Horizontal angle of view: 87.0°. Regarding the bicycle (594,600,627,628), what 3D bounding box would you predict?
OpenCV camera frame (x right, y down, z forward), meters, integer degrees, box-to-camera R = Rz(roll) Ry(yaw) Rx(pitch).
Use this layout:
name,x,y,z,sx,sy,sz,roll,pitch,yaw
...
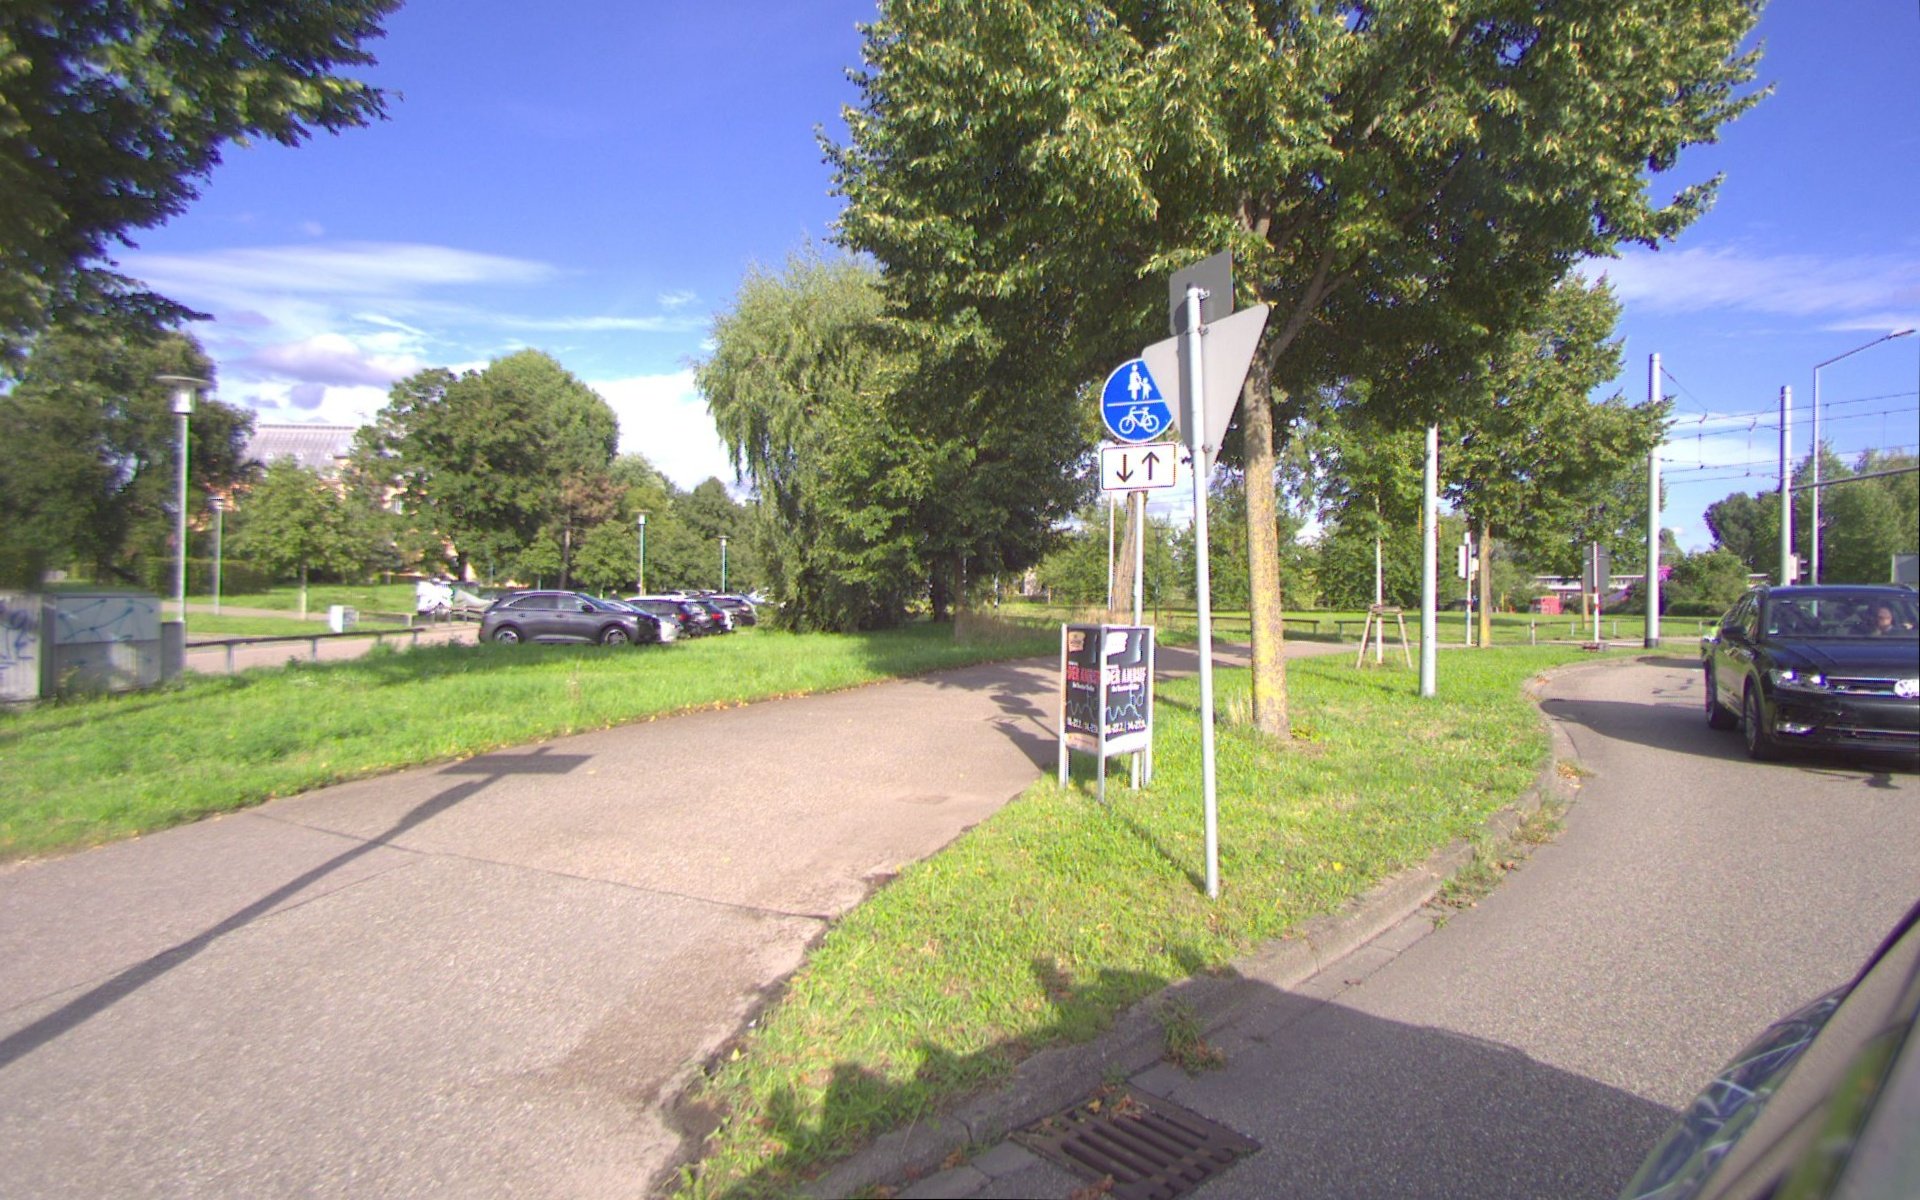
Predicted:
name,x,y,z,sx,sy,sz,roll,pitch,yaw
bicycle,-15.625,0.607,45.235,0.757,1.151,2.150,0,1,-1

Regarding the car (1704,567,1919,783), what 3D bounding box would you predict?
name,x,y,z,sx,sy,sz,roll,pitch,yaw
car,8.910,0.585,10.141,1.858,1.716,4.960,1,0,31

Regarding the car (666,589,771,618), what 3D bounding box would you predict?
name,x,y,z,sx,sy,sz,roll,pitch,yaw
car,-11.716,0.154,49.348,4.740,1.375,1.862,0,0,-2

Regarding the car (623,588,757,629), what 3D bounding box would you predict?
name,x,y,z,sx,sy,sz,roll,pitch,yaw
car,-10.457,0.316,39.457,4.769,1.534,1.862,0,0,-2

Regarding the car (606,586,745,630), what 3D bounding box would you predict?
name,x,y,z,sx,sy,sz,roll,pitch,yaw
car,-10.430,0.283,37.338,4.641,1.534,1.862,0,0,-2

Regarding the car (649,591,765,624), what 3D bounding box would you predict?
name,x,y,z,sx,sy,sz,roll,pitch,yaw
car,-10.957,0.299,44.077,4.641,1.376,1.862,0,0,-2

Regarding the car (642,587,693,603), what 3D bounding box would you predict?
name,x,y,z,sx,sy,sz,roll,pitch,yaw
car,-25.189,-0.401,87.119,3.921,1.352,1.782,0,0,-3

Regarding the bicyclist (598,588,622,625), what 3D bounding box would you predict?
name,x,y,z,sx,sy,sz,roll,pitch,yaw
bicyclist,-15.622,0.278,45.225,0.757,1.594,0.960,0,1,-1

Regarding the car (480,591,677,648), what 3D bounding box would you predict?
name,x,y,z,sx,sy,sz,roll,pitch,yaw
car,-9.832,0.496,26.336,4.427,1.399,1.862,0,0,-2

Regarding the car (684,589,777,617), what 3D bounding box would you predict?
name,x,y,z,sx,sy,sz,roll,pitch,yaw
car,-11.720,0.139,51.913,4.382,1.380,1.862,0,0,-2

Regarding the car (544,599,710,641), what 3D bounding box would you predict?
name,x,y,z,sx,sy,sz,roll,pitch,yaw
car,-10.401,0.606,31.834,4.641,1.223,1.862,0,0,-2

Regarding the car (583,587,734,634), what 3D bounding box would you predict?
name,x,y,z,sx,sy,sz,roll,pitch,yaw
car,-10.256,0.352,34.709,4.641,1.534,1.862,0,0,-2

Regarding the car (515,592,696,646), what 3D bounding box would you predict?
name,x,y,z,sx,sy,sz,roll,pitch,yaw
car,-10.261,0.518,29.498,4.651,1.458,1.858,0,0,6
